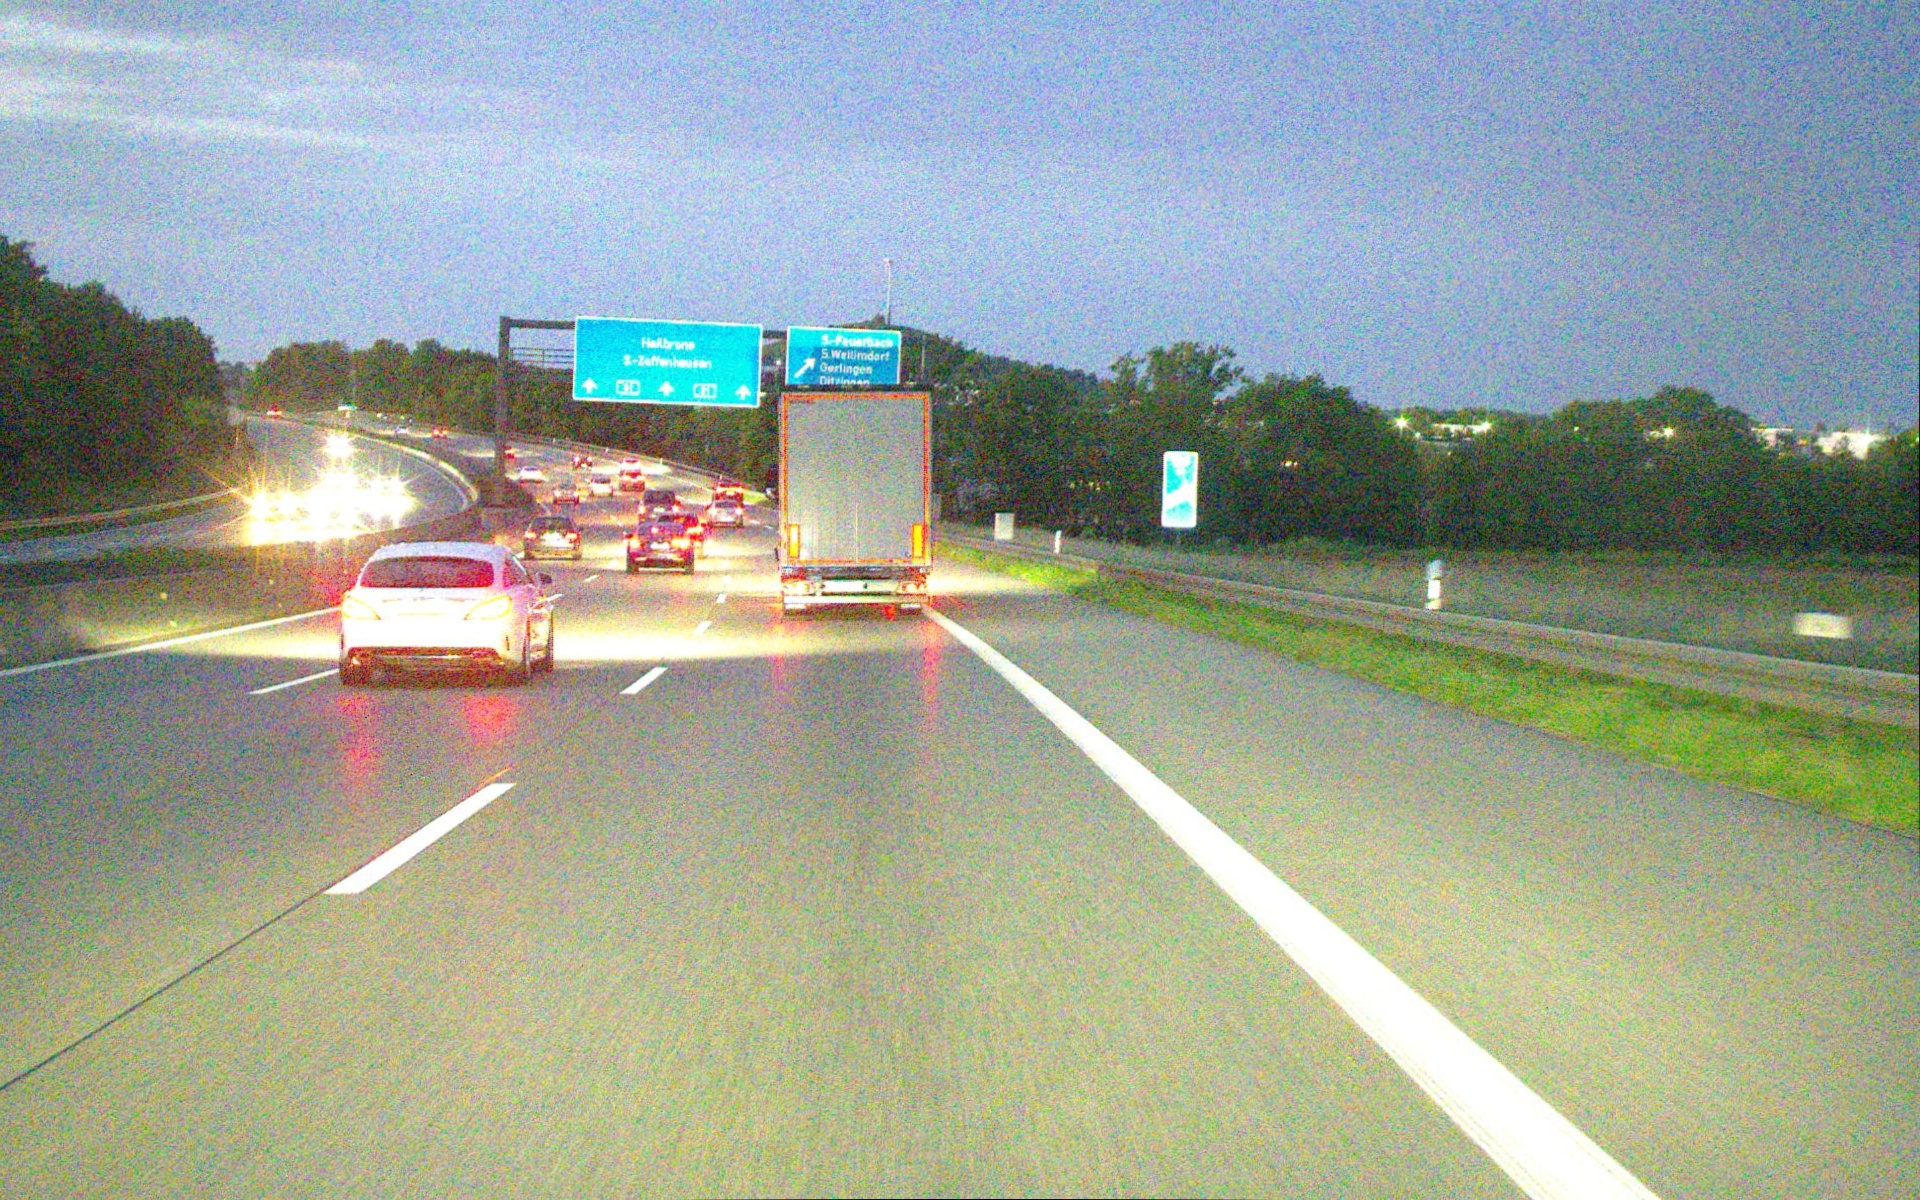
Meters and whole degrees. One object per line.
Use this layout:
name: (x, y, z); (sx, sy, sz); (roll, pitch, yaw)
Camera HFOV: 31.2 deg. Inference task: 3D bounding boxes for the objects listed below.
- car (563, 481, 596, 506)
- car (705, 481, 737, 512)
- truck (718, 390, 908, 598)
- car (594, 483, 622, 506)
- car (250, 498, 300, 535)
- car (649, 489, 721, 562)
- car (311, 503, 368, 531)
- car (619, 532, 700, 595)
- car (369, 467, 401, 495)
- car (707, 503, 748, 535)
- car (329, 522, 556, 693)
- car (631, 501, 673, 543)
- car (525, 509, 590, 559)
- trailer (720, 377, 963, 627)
car: (-25.966, -7.270, 234.564); (1.993, 1.616, 4.001); (1, 1, -3)
car: (-15.956, -6.901, 229.230); (1.993, 1.971, 4.001); (1, 1, -5)
truck: (-3.097, -2.216, 70.645); (3.550, 4.076, 6.153); (0, 2, -6)
car: (-26.467, -7.963, 258.552); (1.993, 1.616, 4.001); (1, 1, -6)
car: (-36.504, -4.422, 183.236); (1.993, 1.887, 5.059); (1, 1, -4)
car: (-9.266, -2.497, 115.597); (1.993, 2.372, 4.001); (1, 1, -10)
car: (-29.765, -3.976, 164.983); (2.059, 1.221, 5.235); (1, 1, -3)
car: (-8.380, -1.034, 96.151); (2.065, 1.680, 4.577); (1, 1, -3)
car: (-42.039, -8.661, 251.355); (1.875, 1.887, 5.059); (1, 1, -4)
car: (-11.817, -4.121, 174.698); (1.993, 1.529, 4.001); (1, 1, -3)
car: (-5.272, 0.044, 35.563); (1.906, 1.609, 4.804); (1, 1, -4)
car: (-15.139, -3.810, 168.986); (1.993, 2.007, 4.001); (1, 1, -5)
car: (-13.207, -2.165, 112.932); (1.761, 1.569, 4.577); (1, 1, -3)
trailer: (-2.460, -1.928, 64.101); (3.549, 4.102, 15.068); (0, 2, -6)
